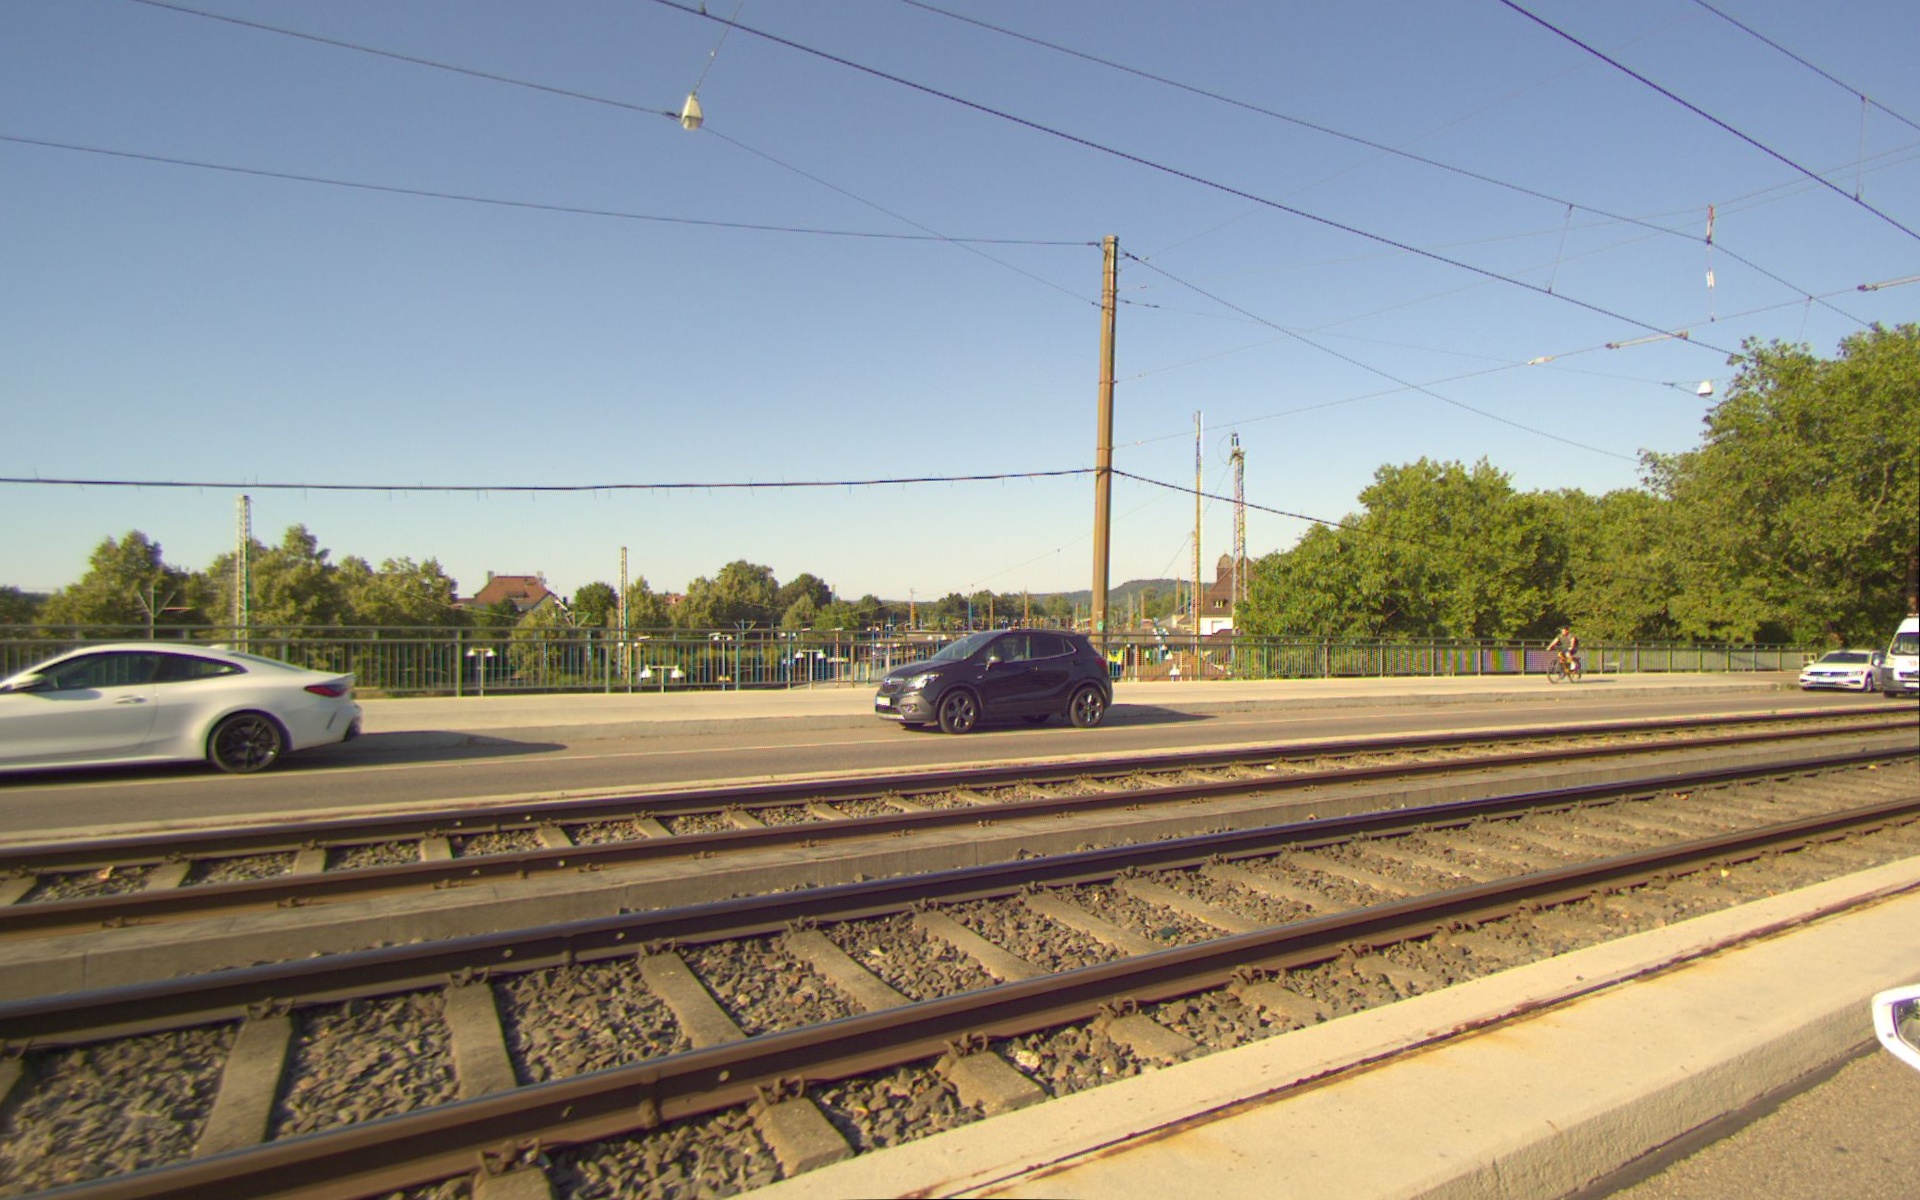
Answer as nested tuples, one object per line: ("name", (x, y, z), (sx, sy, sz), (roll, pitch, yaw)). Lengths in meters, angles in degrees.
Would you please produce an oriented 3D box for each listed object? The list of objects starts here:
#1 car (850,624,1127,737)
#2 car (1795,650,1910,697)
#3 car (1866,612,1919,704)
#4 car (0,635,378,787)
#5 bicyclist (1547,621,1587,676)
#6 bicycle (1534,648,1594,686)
("car", (0.522, 1.290, 16.854), (4.395, 1.671, 1.771), (1, -4, -31))
("car", (31.435, 2.531, 35.350), (4.900, 1.483, 1.732), (1, -1, -32))
("car", (30.099, 1.726, 30.489), (5.970, 2.627, 2.077), (1, -3, -30))
("car", (-9.135, 1.139, 10.906), (4.863, 1.374, 1.675), (0, 0, -31))
("bicyclist", (18.979, 1.510, 31.399), (0.879, 1.648, 0.676), (1, 1, -30))
("bicycle", (18.835, 2.081, 31.330), (2.075, 1.112, 0.676), (1, 1, -30))
